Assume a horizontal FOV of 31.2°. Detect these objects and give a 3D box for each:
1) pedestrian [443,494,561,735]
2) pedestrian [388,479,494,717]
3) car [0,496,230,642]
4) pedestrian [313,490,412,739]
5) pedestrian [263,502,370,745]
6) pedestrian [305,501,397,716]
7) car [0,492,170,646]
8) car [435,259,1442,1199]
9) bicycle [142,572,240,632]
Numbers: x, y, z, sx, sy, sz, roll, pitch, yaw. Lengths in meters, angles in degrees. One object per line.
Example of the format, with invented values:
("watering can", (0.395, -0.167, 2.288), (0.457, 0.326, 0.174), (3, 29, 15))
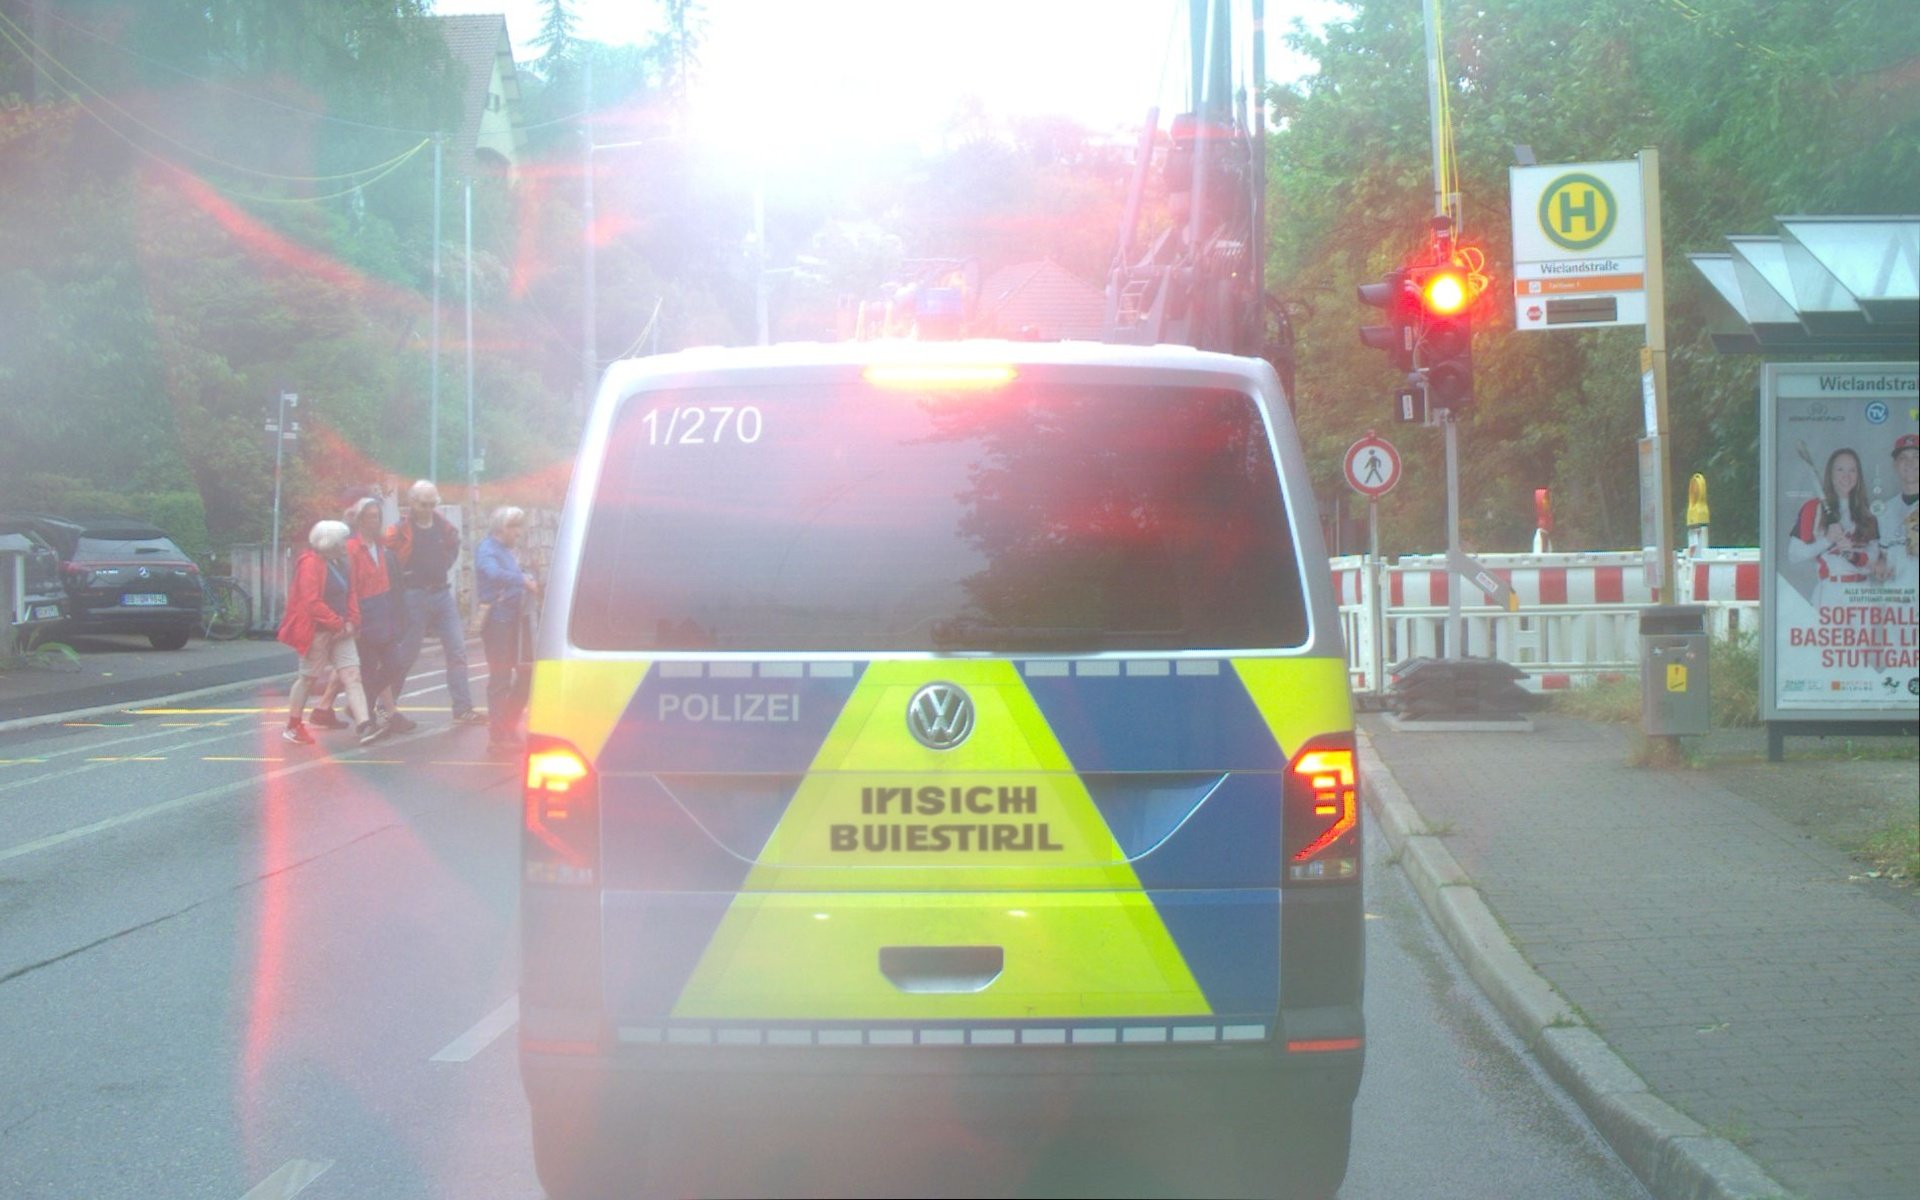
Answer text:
("pedestrian", (-2.952, 0.097, 22.198), (0.626, 1.517, 0.593), (2, -1, 2))
("pedestrian", (-3.807, -0.013, 25.243), (0.626, 1.709, 0.593), (2, -1, 2))
("car", (-10.134, -0.344, 37.125), (3.989, 1.481, 1.759), (1, -1, 11))
("pedestrian", (-4.065, 0.100, 23.403), (0.549, 1.662, 0.414), (2, -1, 2))
("pedestrian", (-4.246, 0.157, 22.715), (0.563, 1.577, 0.468), (2, -1, 2))
("pedestrian", (-4.323, 0.064, 24.431), (0.525, 1.502, 0.429), (2, -1, 2))
("car", (-10.294, -0.333, 34.975), (3.989, 1.481, 1.759), (1, -1, 11))
("car", (-0.055, 0.294, 9.077), (1.993, 2.007, 4.402), (1, 1, 0))
("bicycle", (-8.959, 0.026, 40.034), (1.054, 0.660, 0.320), (1, -1, 10))
